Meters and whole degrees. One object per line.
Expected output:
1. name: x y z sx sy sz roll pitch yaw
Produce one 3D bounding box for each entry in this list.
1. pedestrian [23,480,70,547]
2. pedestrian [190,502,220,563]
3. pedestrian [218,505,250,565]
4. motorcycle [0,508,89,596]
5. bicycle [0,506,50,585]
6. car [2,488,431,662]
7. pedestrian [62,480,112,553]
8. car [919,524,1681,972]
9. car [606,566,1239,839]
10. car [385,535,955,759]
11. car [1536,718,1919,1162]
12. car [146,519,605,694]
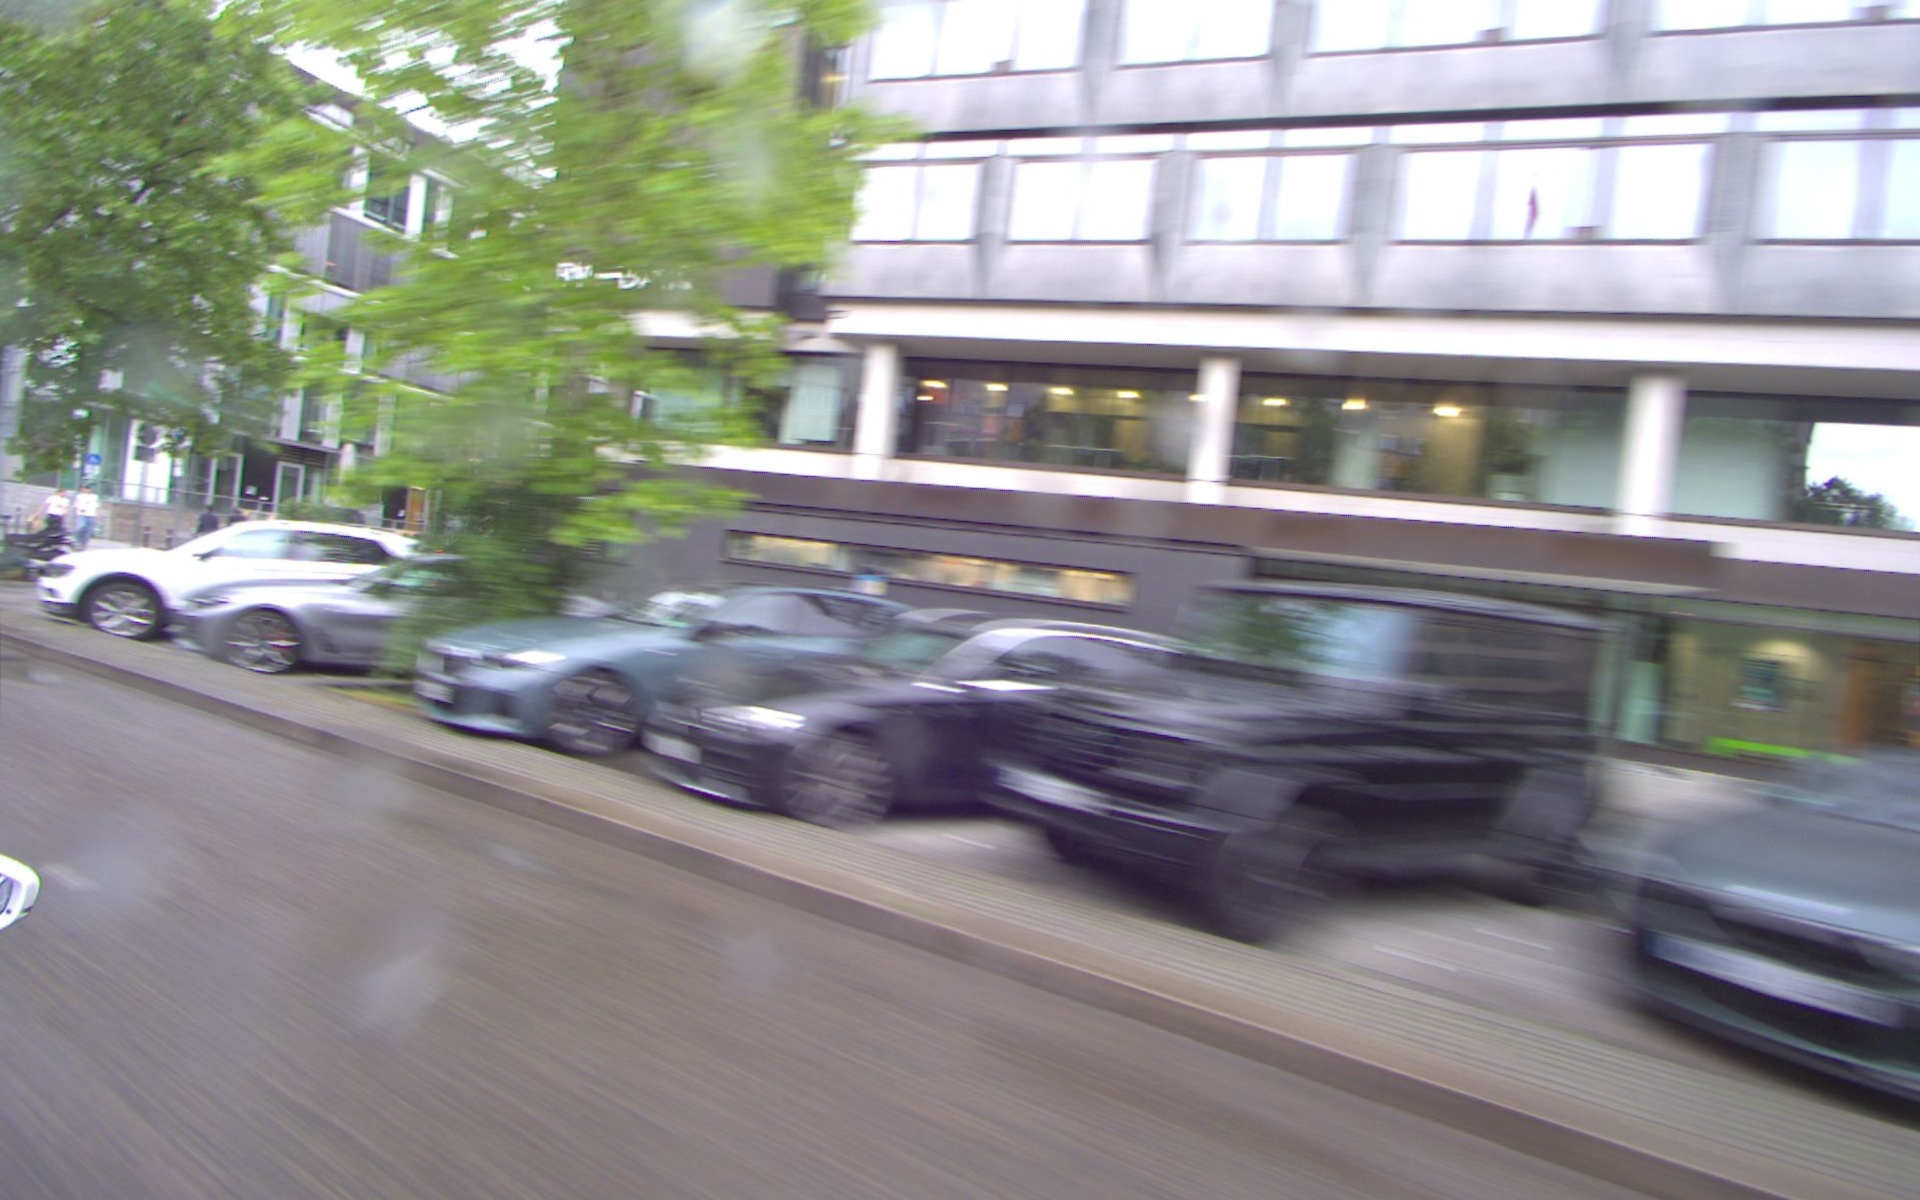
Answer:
1. pedestrian: -28.366 -2.670 31.246 0.874 1.926 0.865 5 -2 44
2. pedestrian: -23.171 -2.067 30.871 0.637 1.807 0.761 2 3 -43
3. pedestrian: -22.496 -2.016 31.180 0.662 1.808 0.908 1 3 -42
4. motorcycle: -17.214 -0.920 18.188 0.715 1.431 2.027 5 -2 40
5. bicycle: -19.025 -1.145 19.417 0.715 1.431 1.981 5 -2 40
6. car: -9.417 -0.262 13.222 4.185 1.690 1.824 7 0 -31
7. pedestrian: -27.791 -2.642 32.020 1.061 2.140 0.934 5 -2 44
8. car: 2.408 0.848 6.583 4.902 2.003 1.913 7 0 -32
9. car: -0.146 0.782 7.825 4.524 1.525 1.852 7 0 -34
10. car: -2.459 0.493 9.466 4.759 1.553 1.846 7 0 -44
11. car: 5.267 1.537 5.193 4.585 1.411 1.834 7 -1 -30
12. car: -6.608 0.118 11.843 4.258 1.507 1.829 7 0 -29
